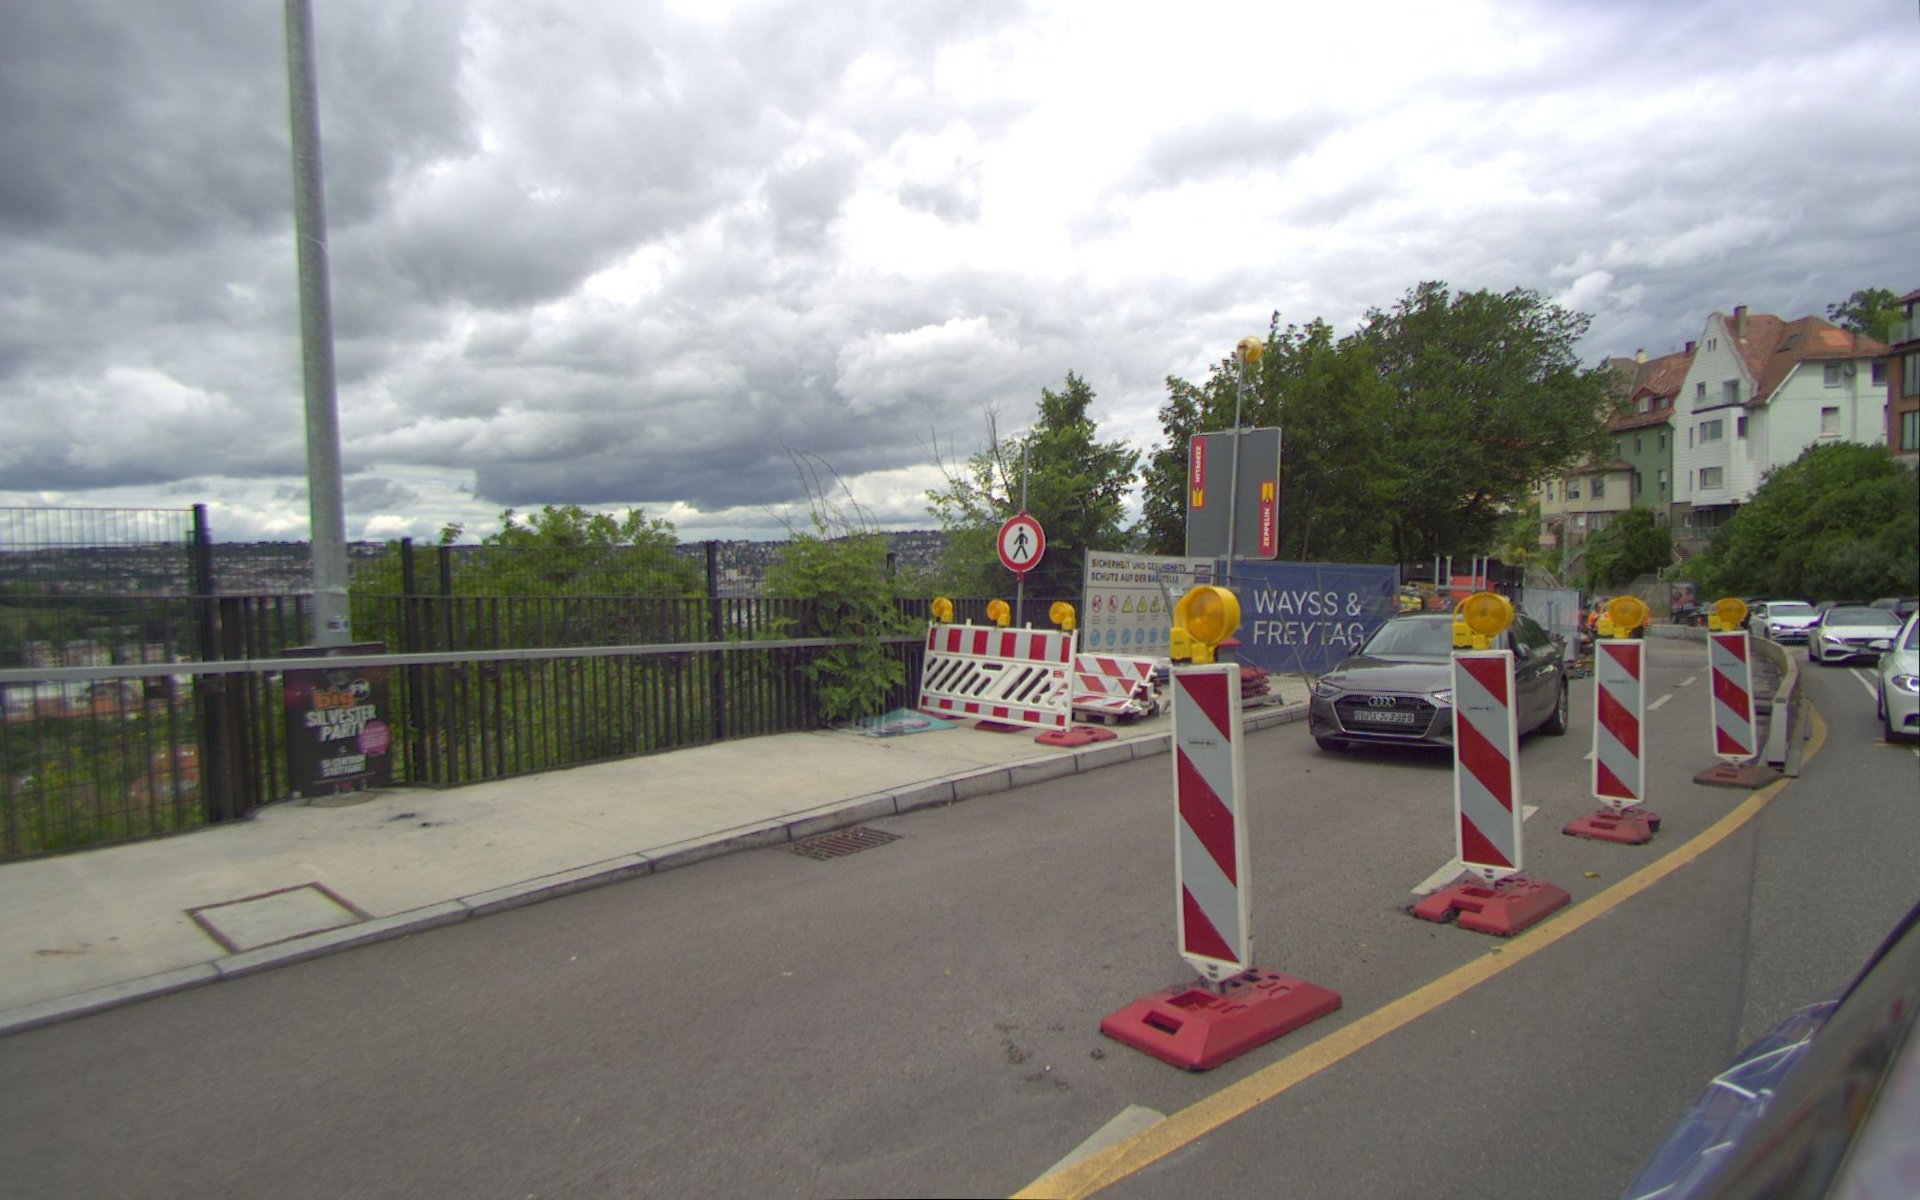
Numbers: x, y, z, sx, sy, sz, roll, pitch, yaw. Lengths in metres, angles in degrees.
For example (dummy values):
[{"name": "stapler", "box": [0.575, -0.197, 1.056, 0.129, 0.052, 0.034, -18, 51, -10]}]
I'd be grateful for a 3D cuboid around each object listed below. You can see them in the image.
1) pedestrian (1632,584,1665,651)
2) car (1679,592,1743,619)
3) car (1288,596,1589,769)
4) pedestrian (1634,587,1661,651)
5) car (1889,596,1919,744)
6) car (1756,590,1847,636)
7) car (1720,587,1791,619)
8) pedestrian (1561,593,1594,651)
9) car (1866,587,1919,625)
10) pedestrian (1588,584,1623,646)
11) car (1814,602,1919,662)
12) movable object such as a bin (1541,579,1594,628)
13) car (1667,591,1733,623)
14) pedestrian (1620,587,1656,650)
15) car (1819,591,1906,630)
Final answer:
[{"name": "pedestrian", "box": [19.958, 0.506, 29.350, 0.634, 1.882, 0.826, 2, 1, 29]}, {"name": "car", "box": [46.537, 0.361, 62.815, 1.657, 1.435, 3.777, -5, -2, 12]}, {"name": "car", "box": [5.370, 0.715, 11.004, 1.837, 1.474, 4.560, -1, -1, 40]}, {"name": "pedestrian", "box": [20.480, 0.549, 30.150, 0.522, 1.866, 0.788, 2, 1, 29]}, {"name": "car", "box": [11.923, 0.674, 11.336, 4.797, 1.485, 1.849, -1, -2, -43]}, {"name": "car", "box": [30.991, 0.463, 37.401, 1.871, 1.598, 3.957, -2, -1, 30]}, {"name": "car", "box": [45.360, 0.157, 57.819, 1.745, 1.616, 3.772, -6, -2, 16]}, {"name": "pedestrian", "box": [19.737, 0.699, 32.351, 0.637, 1.817, 0.641, -3, -1, 15]}, {"name": "car", "box": [40.488, 0.211, 42.954, 1.804, 1.453, 3.685, -6, -3, 23]}, {"name": "pedestrian", "box": [20.305, 0.481, 31.833, 0.722, 1.916, 0.614, -3, -3, 22]}, {"name": "car", "box": [22.525, 0.735, 25.064, 1.788, 1.323, 4.047, -1, 0, 36]}, {"name": "movable object such as a bin", "box": [34.186, 0.213, 57.066, 1.841, 2.628, 3.417, -2, -1, 20]}, {"name": "car", "box": [43.282, 0.407, 59.301, 1.745, 1.616, 3.772, -6, -2, 16]}, {"name": "pedestrian", "box": [20.966, 0.564, 31.301, 0.607, 1.909, 0.718, 2, -2, 0]}, {"name": "car", "box": [38.030, 0.448, 42.749, 1.747, 1.549, 3.873, -3, -2, 27]}]
